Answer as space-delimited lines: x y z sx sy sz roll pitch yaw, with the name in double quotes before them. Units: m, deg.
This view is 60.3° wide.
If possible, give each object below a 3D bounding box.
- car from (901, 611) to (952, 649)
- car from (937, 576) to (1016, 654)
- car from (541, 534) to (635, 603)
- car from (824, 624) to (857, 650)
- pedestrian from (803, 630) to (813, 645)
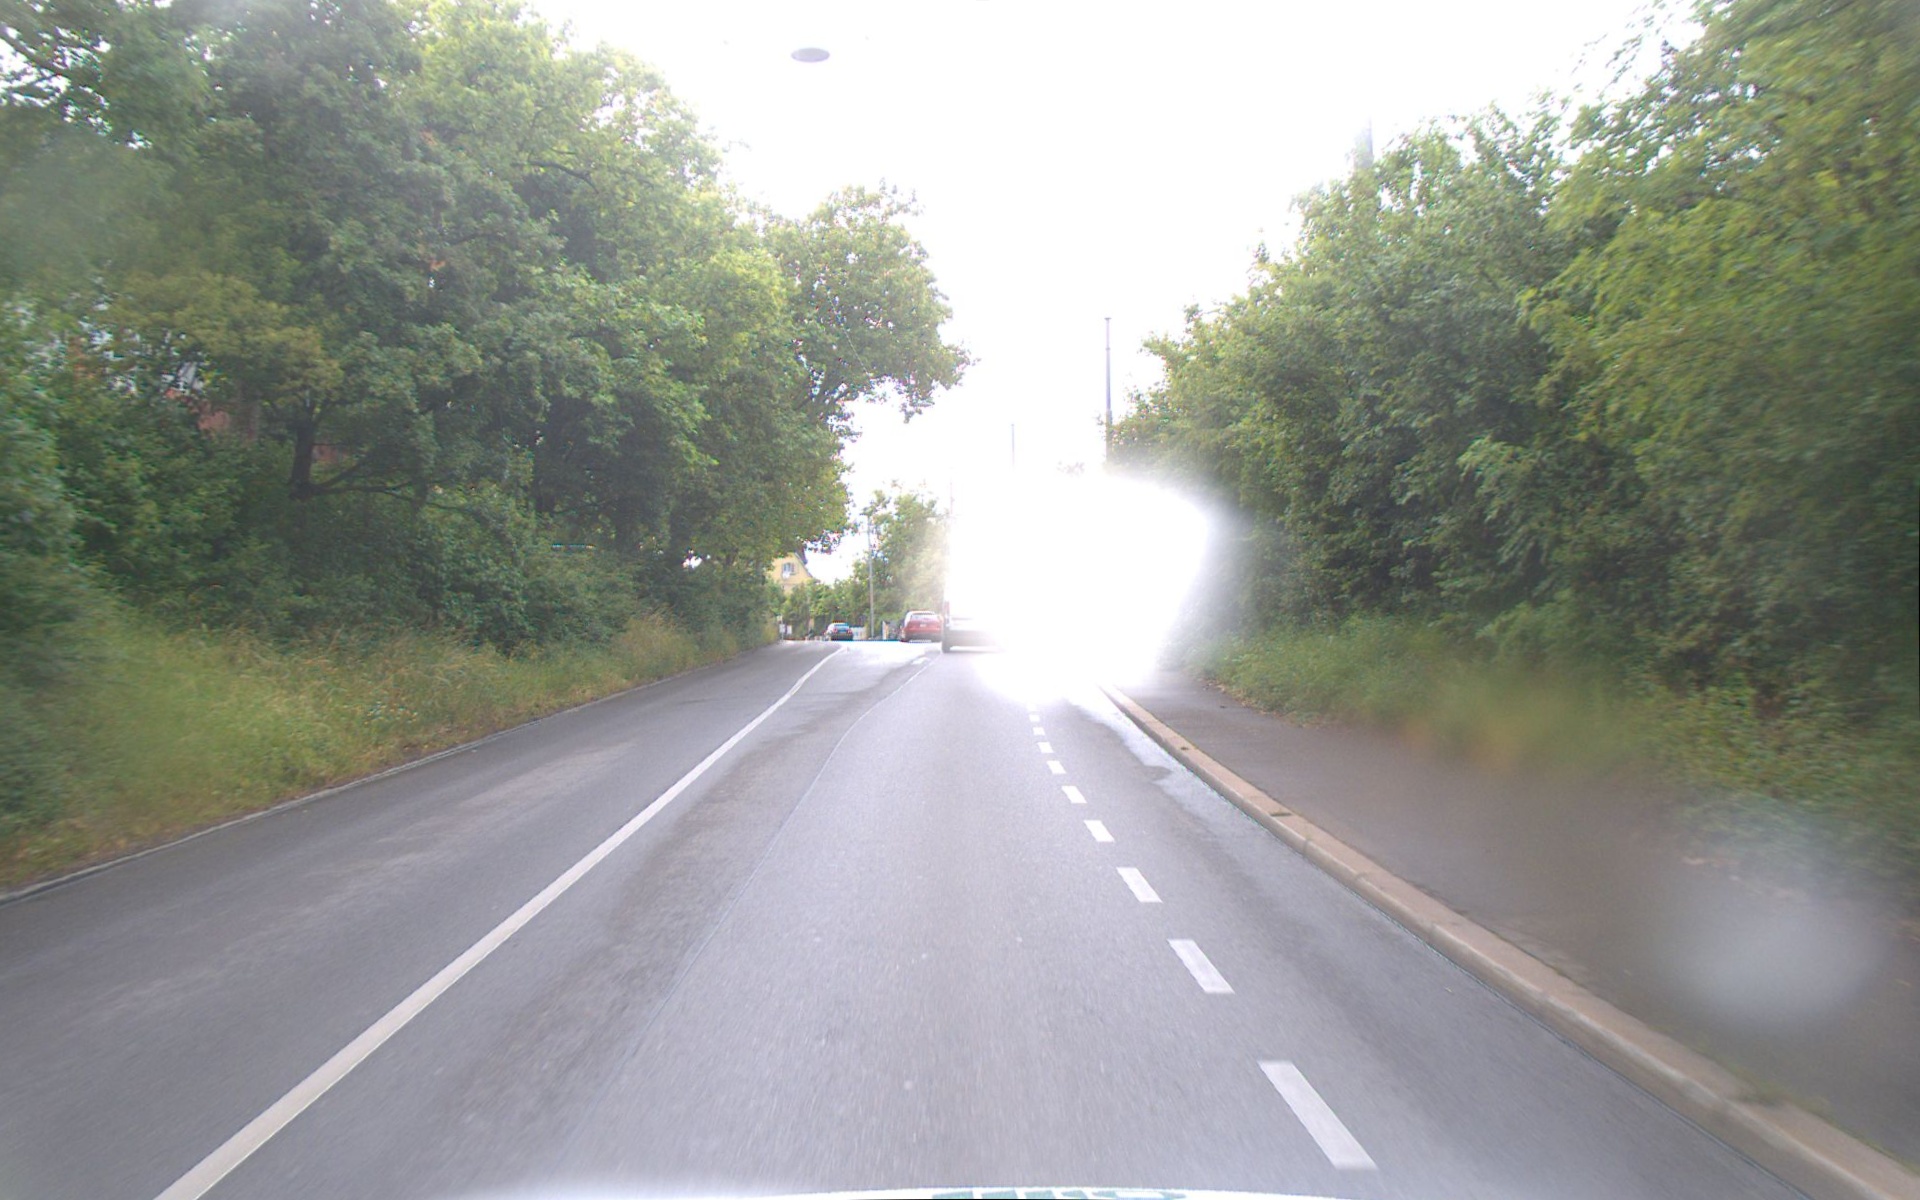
"car" -1.617 1.387 78.088 2.193 1.686 4.710 1 0 -3
"car" 0.447 0.441 51.003 2.192 2.252 4.711 1 0 -2
"car" -11.606 -0.937 51.845 1.953 2.049 4.626 1 0 -1
"car" -8.710 2.688 121.126 2.192 1.836 4.712 1 0 -1
"pedestrian" -14.605 3.570 159.061 0.863 1.391 1.062 1 0 -13
